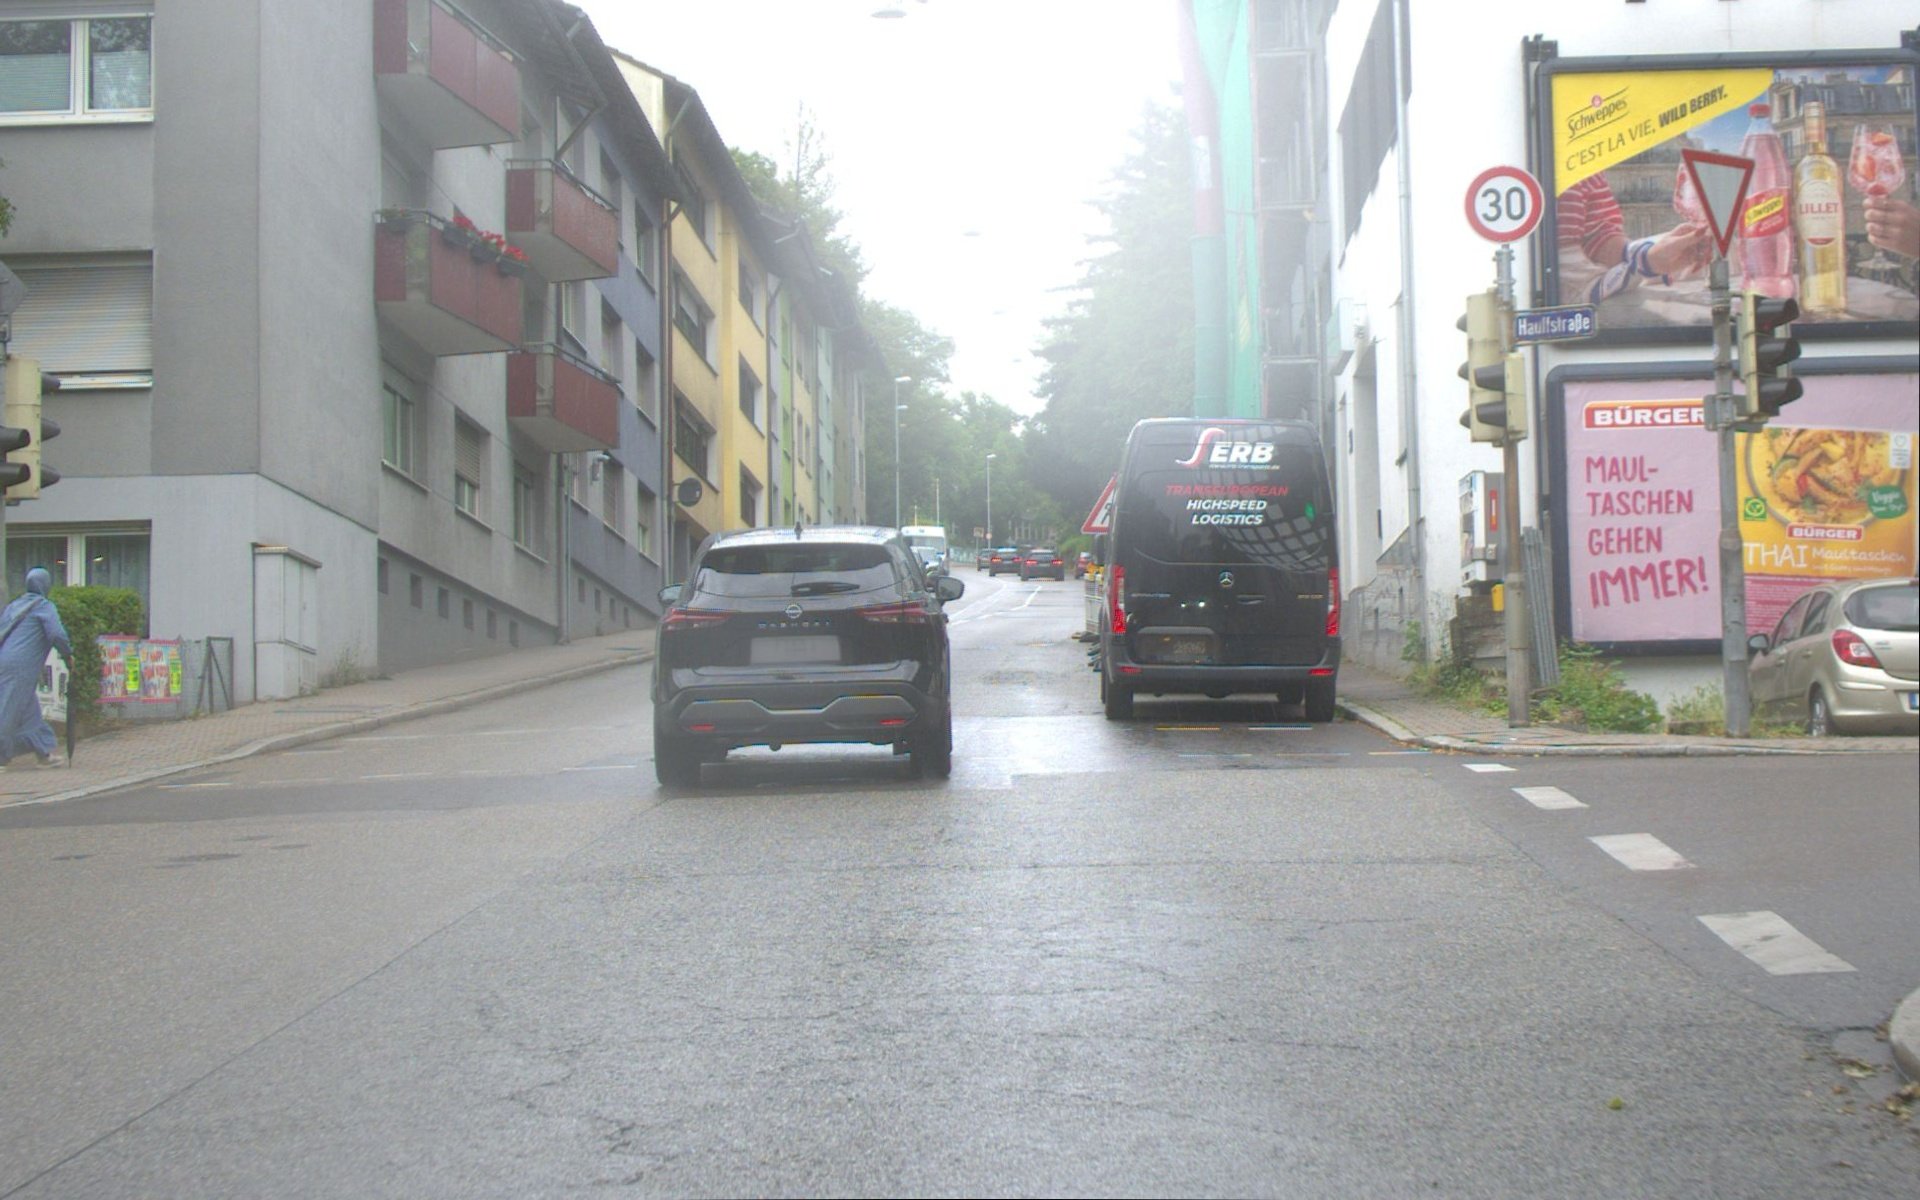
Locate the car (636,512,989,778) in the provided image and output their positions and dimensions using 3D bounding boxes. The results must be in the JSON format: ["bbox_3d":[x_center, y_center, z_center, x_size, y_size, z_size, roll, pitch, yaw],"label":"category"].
[{"bbox_3d":[-0.858,0.217,22.342,1.993,1.554,4.000,0,2,2],"label":"car"}]

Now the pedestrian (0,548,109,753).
[{"bbox_3d":[-7.083,0.386,26.320,0.869,1.536,1.087,1,-1,-1],"label":"pedestrian"}]

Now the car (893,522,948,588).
[{"bbox_3d":[-1.516,-1.790,133.837,1.990,2.466,5.784,-1,1,1],"label":"car"}]

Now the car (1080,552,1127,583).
[{"bbox_3d":[7.217,-1.651,173.200,2.074,1.554,4.000,0,1,-1],"label":"car"}]

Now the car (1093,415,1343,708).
[{"bbox_3d":[2.248,-0.263,31.356,1.993,2.406,5.836,0,-1,2],"label":"car"}]

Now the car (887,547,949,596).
[{"bbox_3d":[-1.409,-1.006,117.987,1.990,1.579,4.305,-1,1,1],"label":"car"}]

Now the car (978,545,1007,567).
[{"bbox_3d":[2.371,-3.178,248.563,2.074,1.554,4.000,0,1,1],"label":"car"}]

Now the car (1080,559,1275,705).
[{"bbox_3d":[2.342,0.316,38.010,1.993,1.507,4.337,0,0,2],"label":"car"}]

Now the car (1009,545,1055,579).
[{"bbox_3d":[3.346,-1.776,160.186,2.074,1.554,4.000,0,1,0],"label":"car"}]

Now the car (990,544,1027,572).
[{"bbox_3d":[2.735,-2.362,194.412,2.074,1.554,4.000,0,1,1],"label":"car"}]

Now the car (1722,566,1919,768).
[{"bbox_3d":[7.494,0.496,28.397,1.562,1.479,4.000,0,2,1],"label":"car"}]
